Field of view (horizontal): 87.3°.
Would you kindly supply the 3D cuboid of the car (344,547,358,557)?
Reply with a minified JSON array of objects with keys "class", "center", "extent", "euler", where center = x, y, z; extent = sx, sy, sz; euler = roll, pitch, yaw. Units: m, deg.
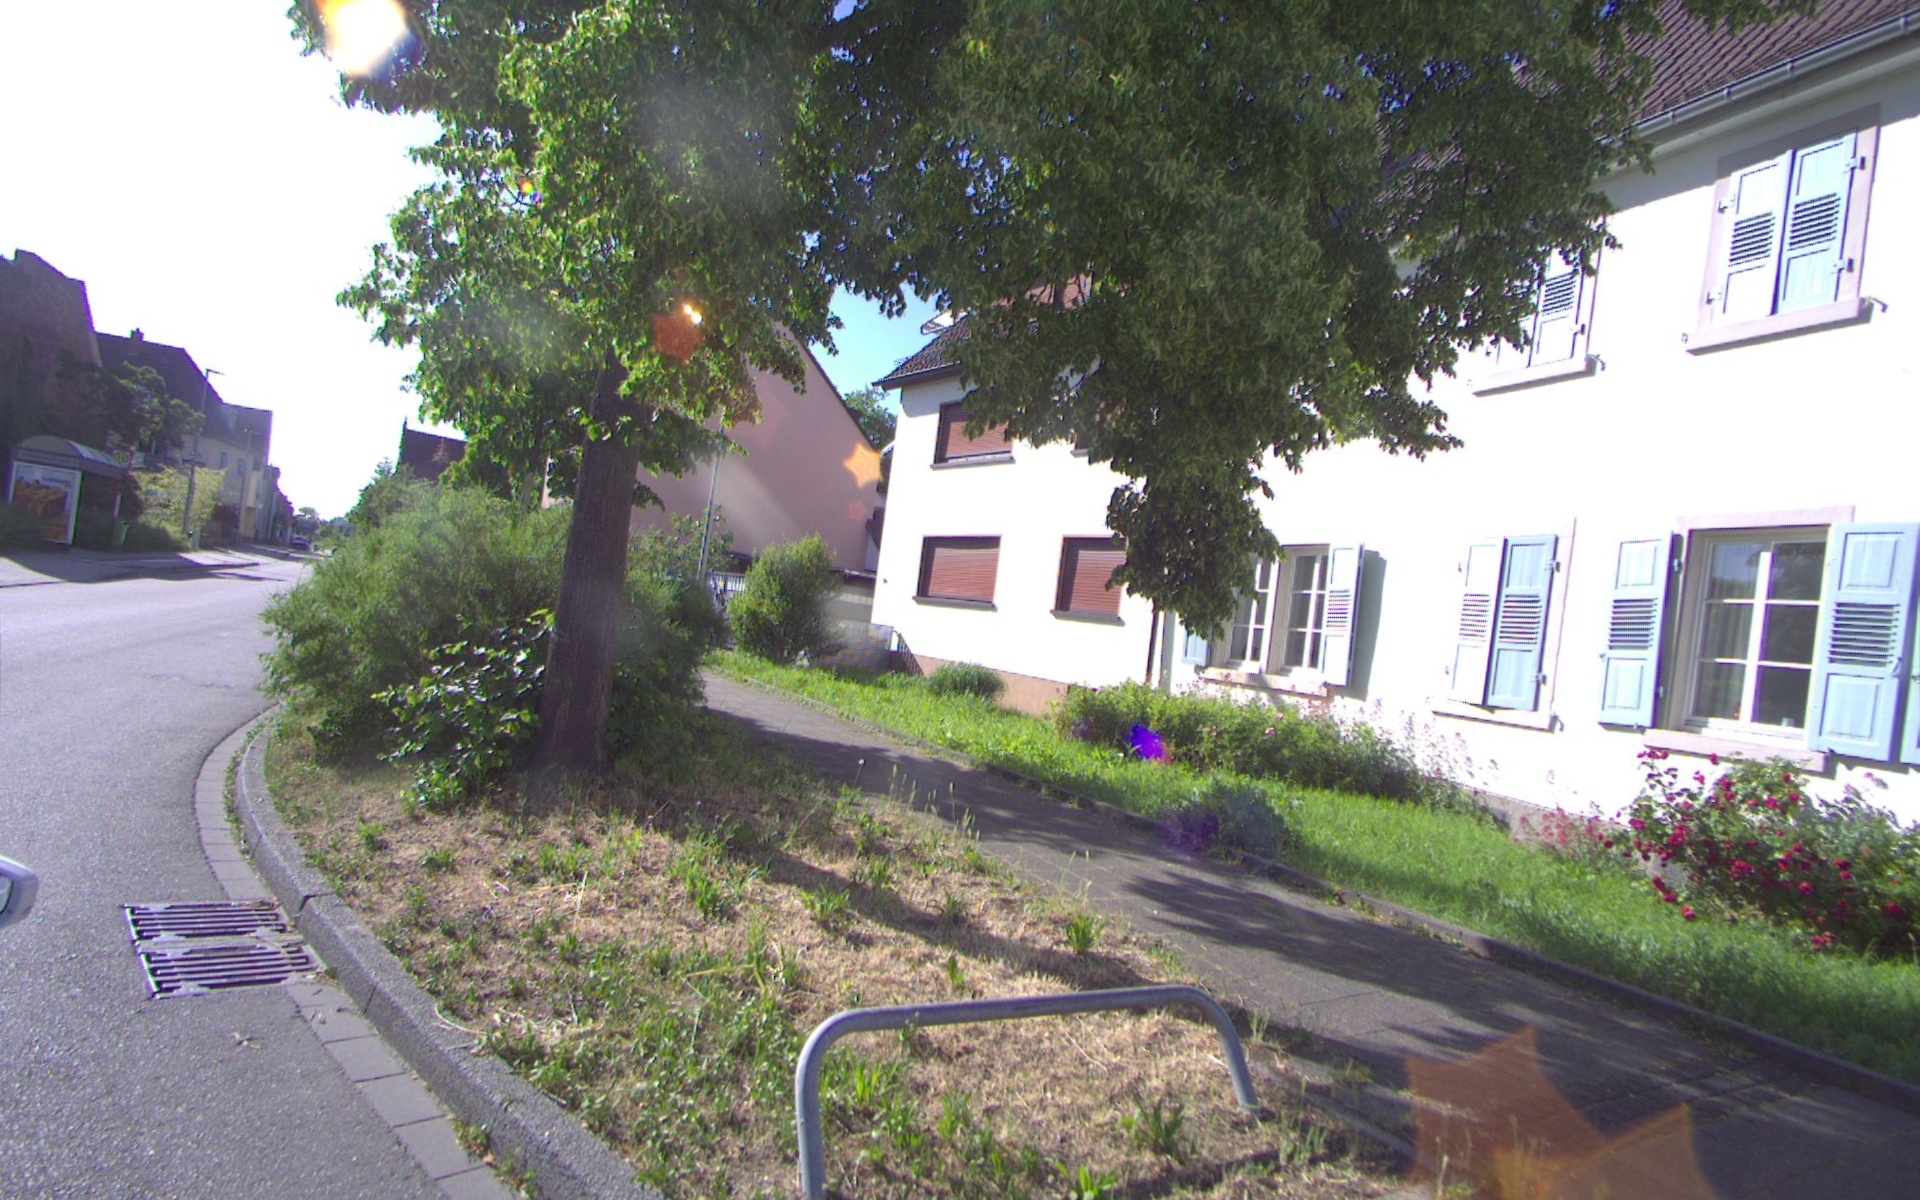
[{"class":"car","center":[-114.138,-8.945,188.621],"extent":[1.898,1.491,3.964],"euler":[10,-2,-34]}]

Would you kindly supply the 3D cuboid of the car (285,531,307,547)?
[{"class":"car","center":[-76.578,-7.023,116.067],"extent":[1.898,1.491,3.964],"euler":[10,-2,-34]}]

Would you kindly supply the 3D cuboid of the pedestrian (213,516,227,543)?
[{"class":"pedestrian","center":[-38.504,-3.664,52.341],"extent":[0.397,1.363,0.439],"euler":[7,0,-26]}]

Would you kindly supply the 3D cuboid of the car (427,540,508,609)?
[{"class":"car","center":[-14.950,-0.784,30.713],"extent":[1.891,1.695,3.976],"euler":[9,-1,-25]}]

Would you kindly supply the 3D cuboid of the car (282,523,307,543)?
[{"class":"car","center":[-58.560,-5.896,88.576],"extent":[1.606,1.491,3.964],"euler":[10,-2,-34]}]

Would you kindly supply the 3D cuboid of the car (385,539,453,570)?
[{"class":"car","center":[-40.105,-3.351,74.638],"extent":[3.976,1.581,1.893],"euler":[11,-3,-41]}]

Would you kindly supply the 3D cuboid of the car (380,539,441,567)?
[{"class":"car","center":[-45.378,-3.850,83.152],"extent":[3.976,1.581,1.893],"euler":[11,-3,-41]}]
